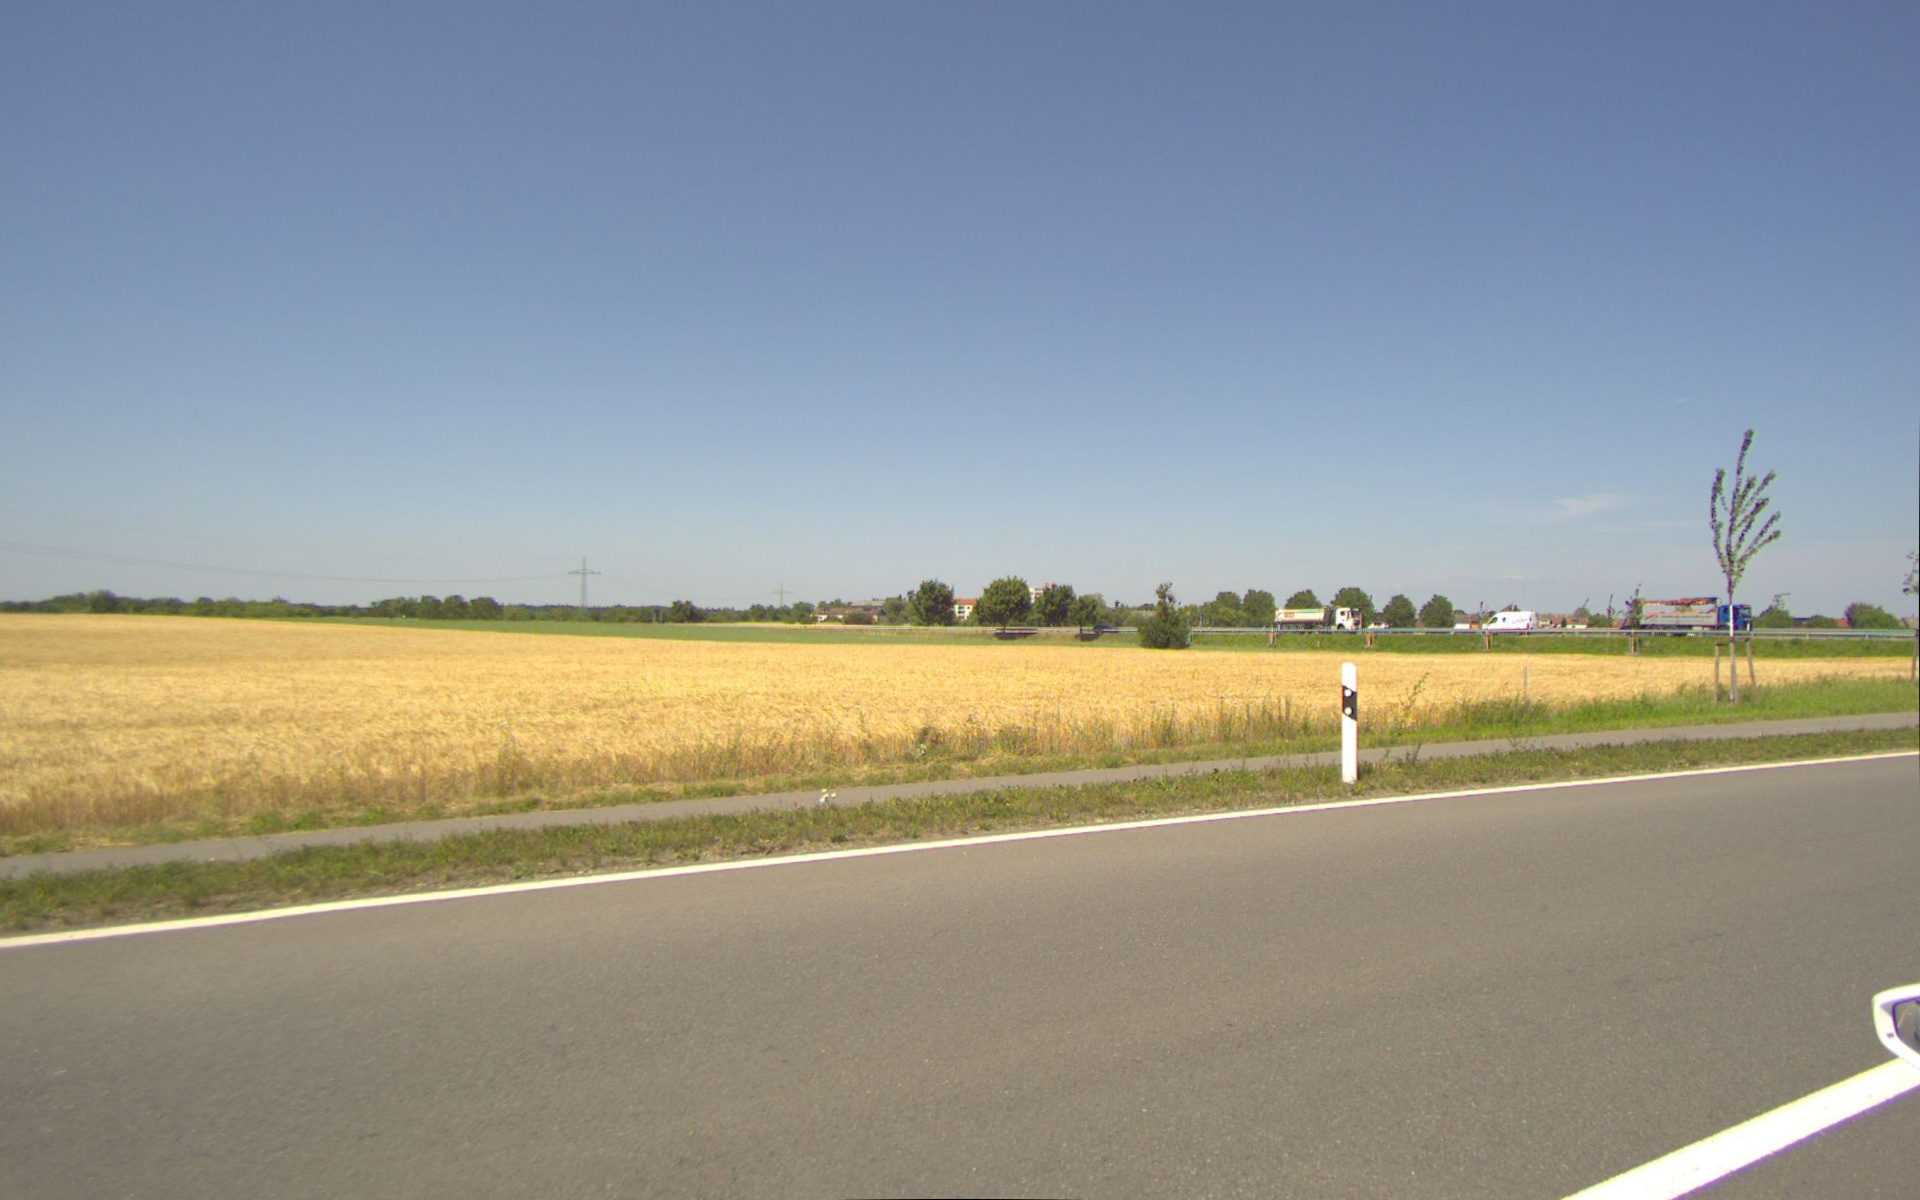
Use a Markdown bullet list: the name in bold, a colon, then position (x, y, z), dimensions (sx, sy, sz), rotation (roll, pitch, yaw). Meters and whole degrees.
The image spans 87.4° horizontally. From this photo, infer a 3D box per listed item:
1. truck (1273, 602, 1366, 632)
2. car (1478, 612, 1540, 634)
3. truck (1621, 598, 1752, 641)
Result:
- **truck**: position (46.194, 2.107, 129.549), dimensions (2.952, 3.663, 11.915), rotation (1, 0, -34)
- **car**: position (62.970, 2.628, 115.340), dimensions (2.223, 2.454, 5.884), rotation (1, 0, -32)
- **truck**: position (69.263, 1.794, 96.128), dimensions (2.594, 3.844, 10.036), rotation (1, 0, -29)
